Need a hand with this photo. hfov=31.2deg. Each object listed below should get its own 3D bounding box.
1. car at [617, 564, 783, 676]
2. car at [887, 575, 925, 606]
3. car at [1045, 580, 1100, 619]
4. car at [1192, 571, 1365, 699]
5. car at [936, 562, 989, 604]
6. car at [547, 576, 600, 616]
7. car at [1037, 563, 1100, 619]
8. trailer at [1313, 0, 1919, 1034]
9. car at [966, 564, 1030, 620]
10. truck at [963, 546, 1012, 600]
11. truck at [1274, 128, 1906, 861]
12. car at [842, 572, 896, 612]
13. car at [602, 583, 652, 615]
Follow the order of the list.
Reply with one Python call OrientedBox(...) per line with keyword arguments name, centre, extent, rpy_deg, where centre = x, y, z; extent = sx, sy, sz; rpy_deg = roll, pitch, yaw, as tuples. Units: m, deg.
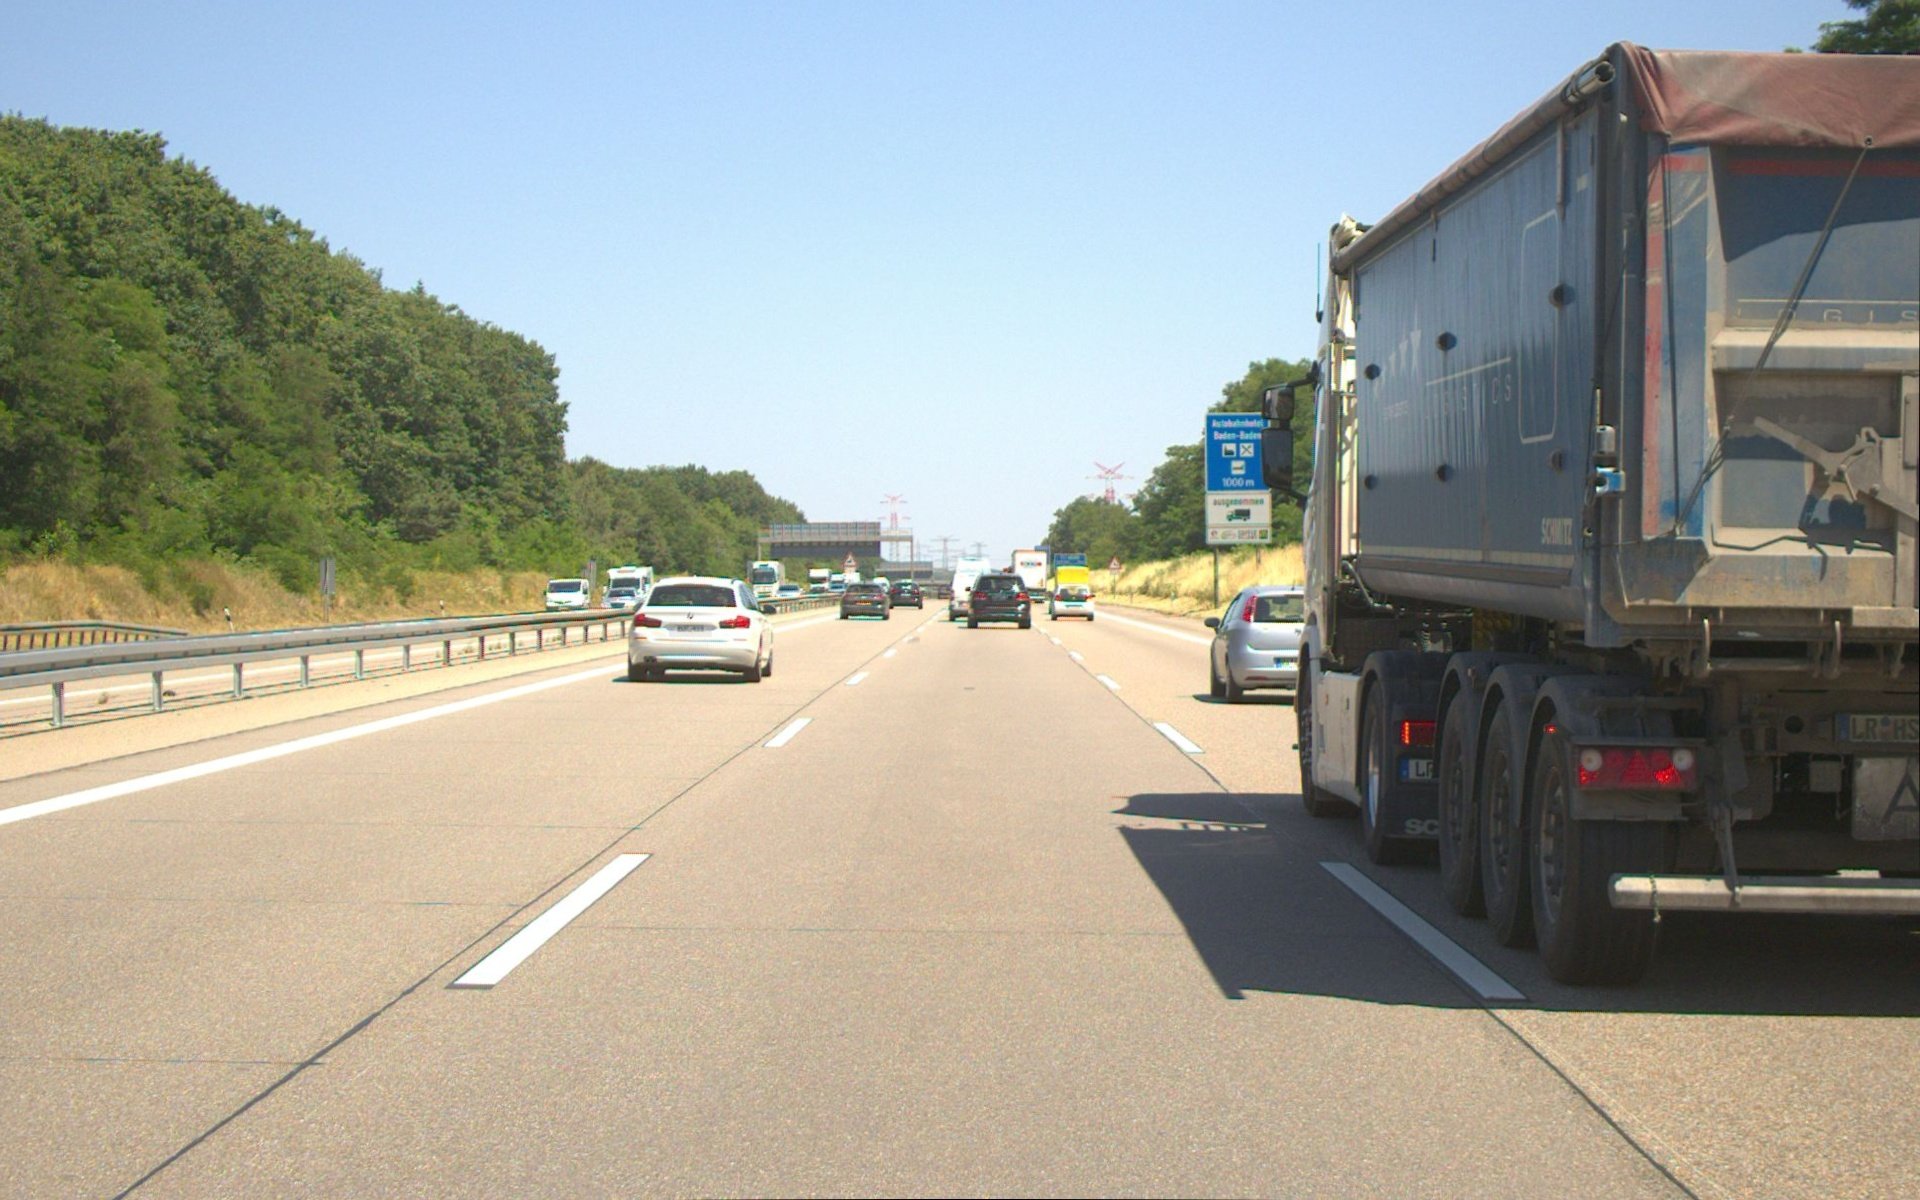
OrientedBox(name="car", centre=(-3.697, 0.259, 49.756), extent=(1.964, 1.498, 5.405), rpy_deg=(1, 0, 0))
OrientedBox(name="car", centre=(-2.868, -0.537, 183.608), extent=(1.876, 1.575, 3.928), rpy_deg=(1, 1, 1))
OrientedBox(name="car", centre=(4.467, -0.012, 136.599), extent=(1.821, 1.486, 3.737), rpy_deg=(1, 0, -3))
OrientedBox(name="car", centre=(4.030, 0.412, 43.965), extent=(1.719, 1.486, 3.737), rpy_deg=(1, 1, -2))
OrientedBox(name="car", centre=(0.096, -0.645, 128.597), extent=(1.894, 1.464, 4.261), rpy_deg=(1, 1, 0))
OrientedBox(name="car", centre=(-19.812, -0.208, 176.264), extent=(1.993, 1.946, 5.244), rpy_deg=(-2, 0, 1))
OrientedBox(name="car", centre=(5.196, -0.421, 165.149), extent=(2.666, 2.625, 6.113), rpy_deg=(1, 0, -1))
OrientedBox(name="trailer", centre=(3.482, -0.510, 15.876), extent=(2.737, 3.746, 9.109), rpy_deg=(0, 1, 0))
OrientedBox(name="car", centre=(1.179, -0.254, 108.801), extent=(1.831, 1.666, 4.000), rpy_deg=(2, 0, -1))
OrientedBox(name="truck", centre=(1.491, -1.464, 189.389), extent=(2.428, 2.874, 6.205), rpy_deg=(1, 0, -1))
OrientedBox(name="truck", centre=(3.511, -0.589, 20.662), extent=(2.684, 3.746, 5.944), rpy_deg=(0, 1, 0))
OrientedBox(name="car", centre=(-3.419, -0.302, 130.026), extent=(1.832, 1.427, 4.999), rpy_deg=(1, 1, 0))
OrientedBox(name="car", centre=(-16.310, -0.061, 168.584), extent=(1.851, 1.522, 5.204), rpy_deg=(-1, 0, 1))
